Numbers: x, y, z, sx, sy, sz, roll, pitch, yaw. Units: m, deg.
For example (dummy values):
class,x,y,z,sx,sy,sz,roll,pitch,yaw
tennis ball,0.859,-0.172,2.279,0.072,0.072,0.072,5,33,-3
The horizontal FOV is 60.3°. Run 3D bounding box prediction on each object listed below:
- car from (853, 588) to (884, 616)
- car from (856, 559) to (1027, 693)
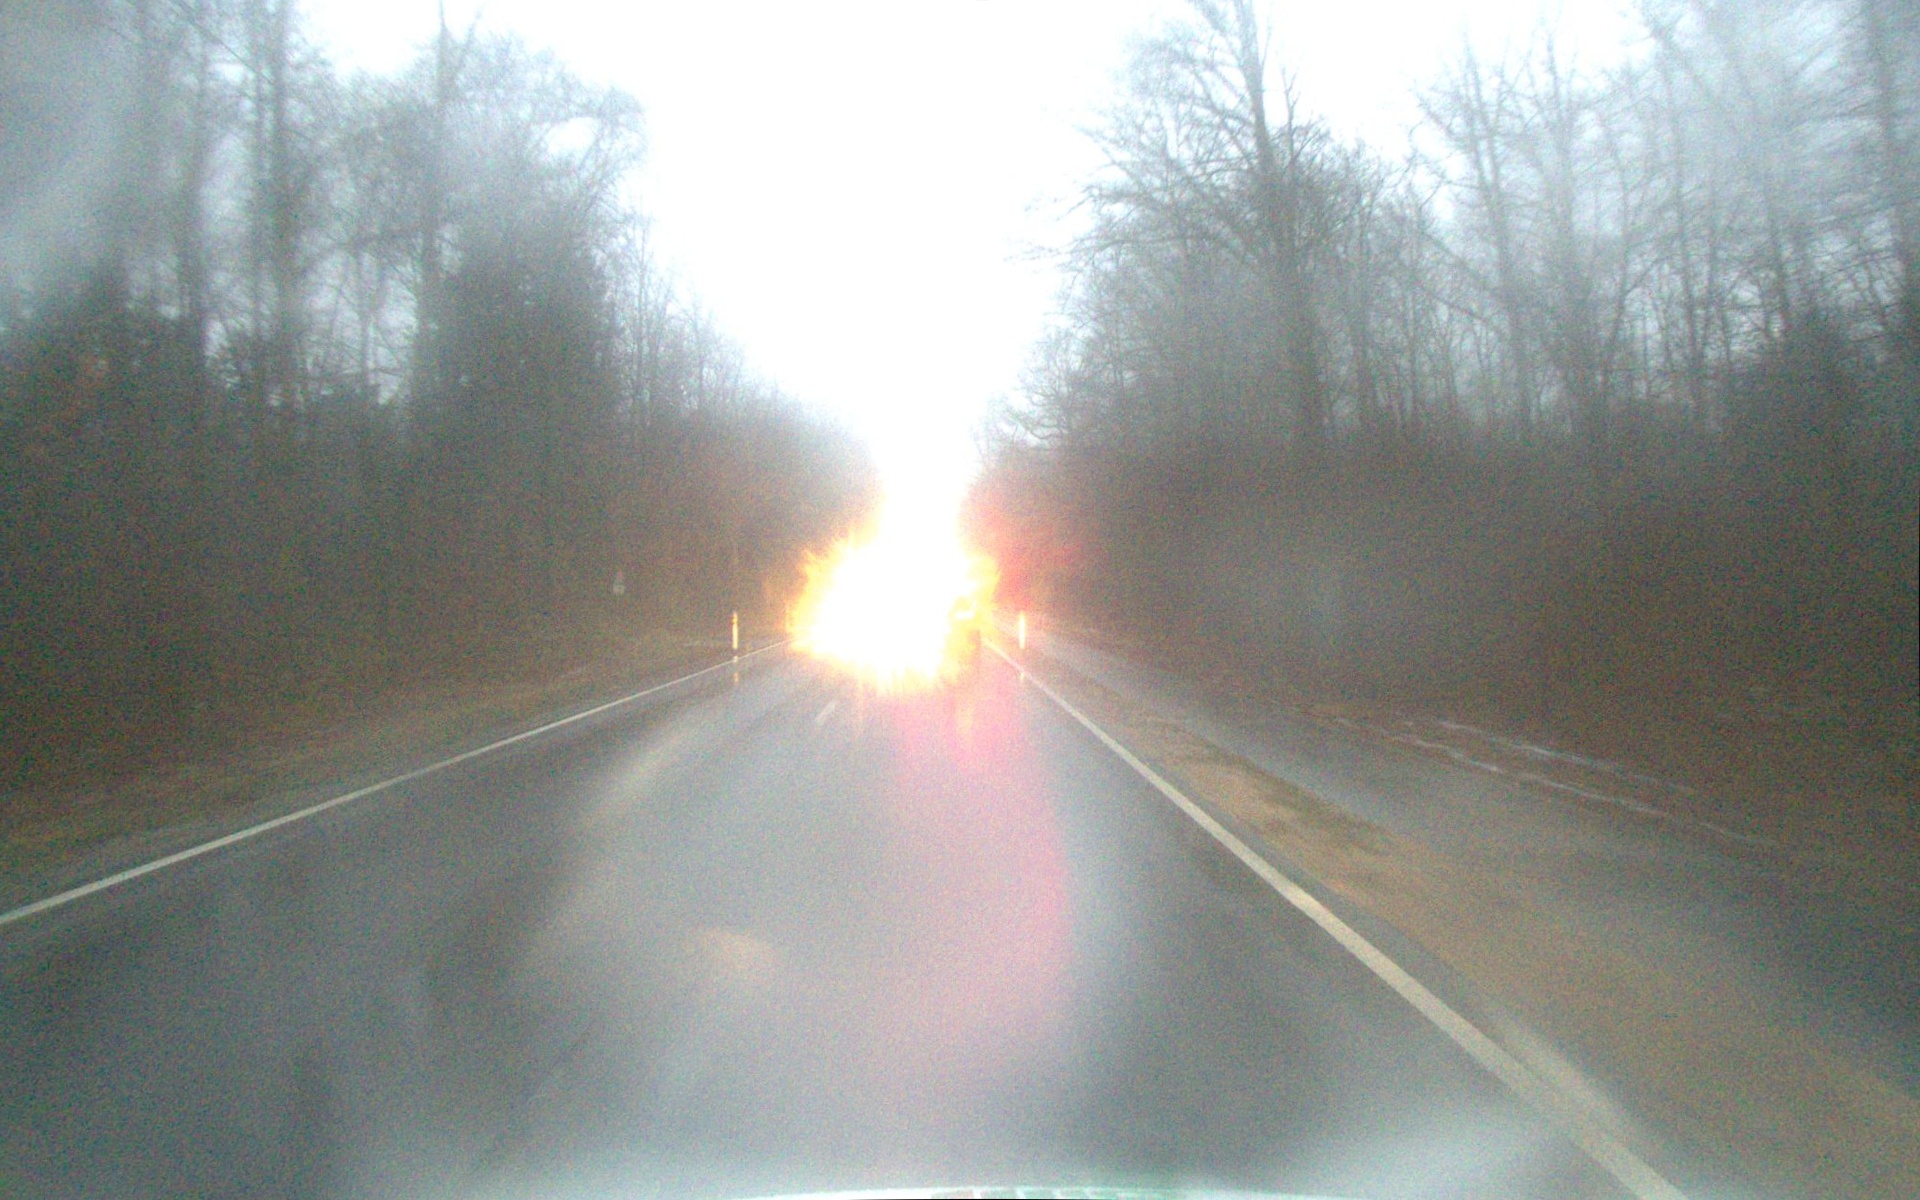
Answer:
class,x,y,z,sx,sy,sz,roll,pitch,yaw
car,-5.666,0.116,102.514,1.763,1.628,3.861,-2,0,-1
car,-0.345,0.485,33.899,3.118,2.428,6.636,1,0,0
